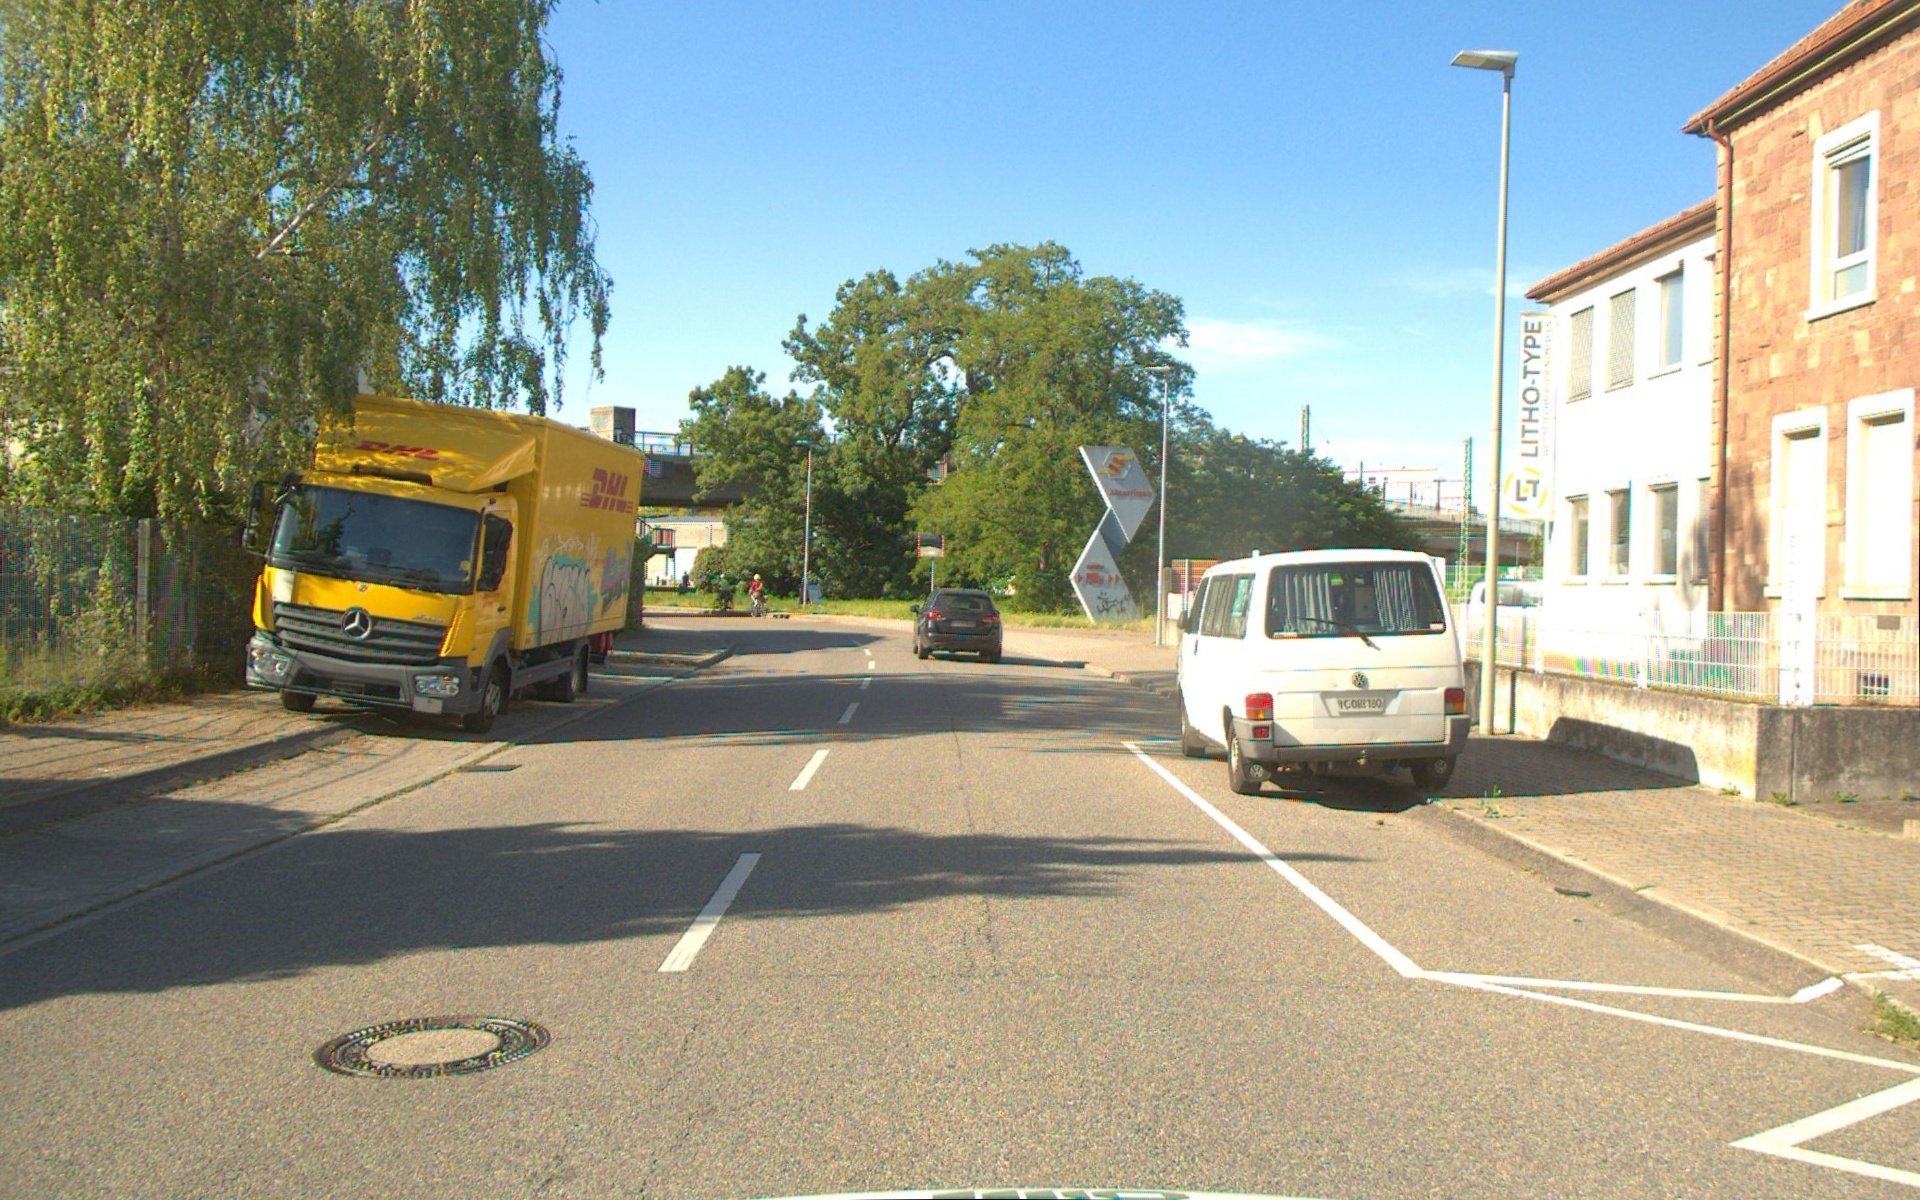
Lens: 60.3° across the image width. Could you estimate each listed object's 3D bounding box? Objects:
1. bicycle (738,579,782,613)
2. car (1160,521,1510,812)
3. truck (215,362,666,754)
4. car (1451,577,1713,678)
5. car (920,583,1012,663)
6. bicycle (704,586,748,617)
[{"bbox_3d":[-8.247,-0.172,68.222,0.797,1.290,2.231,3,0,-35],"label":"bicycle"},{"bbox_3d":[3.057,0.493,14.676,1.836,2.049,5.160,3,0,0],"label":"car"},{"bbox_3d":[-5.888,-0.517,20.634,2.579,3.564,8.657,7,1,-1],"label":"truck"},{"bbox_3d":[13.496,0.533,36.127,1.866,2.049,5.078,0,1,-43],"label":"car"},{"bbox_3d":[0.088,0.444,35.409,1.810,1.556,3.999,1,0,-1],"label":"car"},{"bbox_3d":[-10.091,0.044,71.393,0.798,1.242,2.226,3,0,-40],"label":"bicycle"}]
